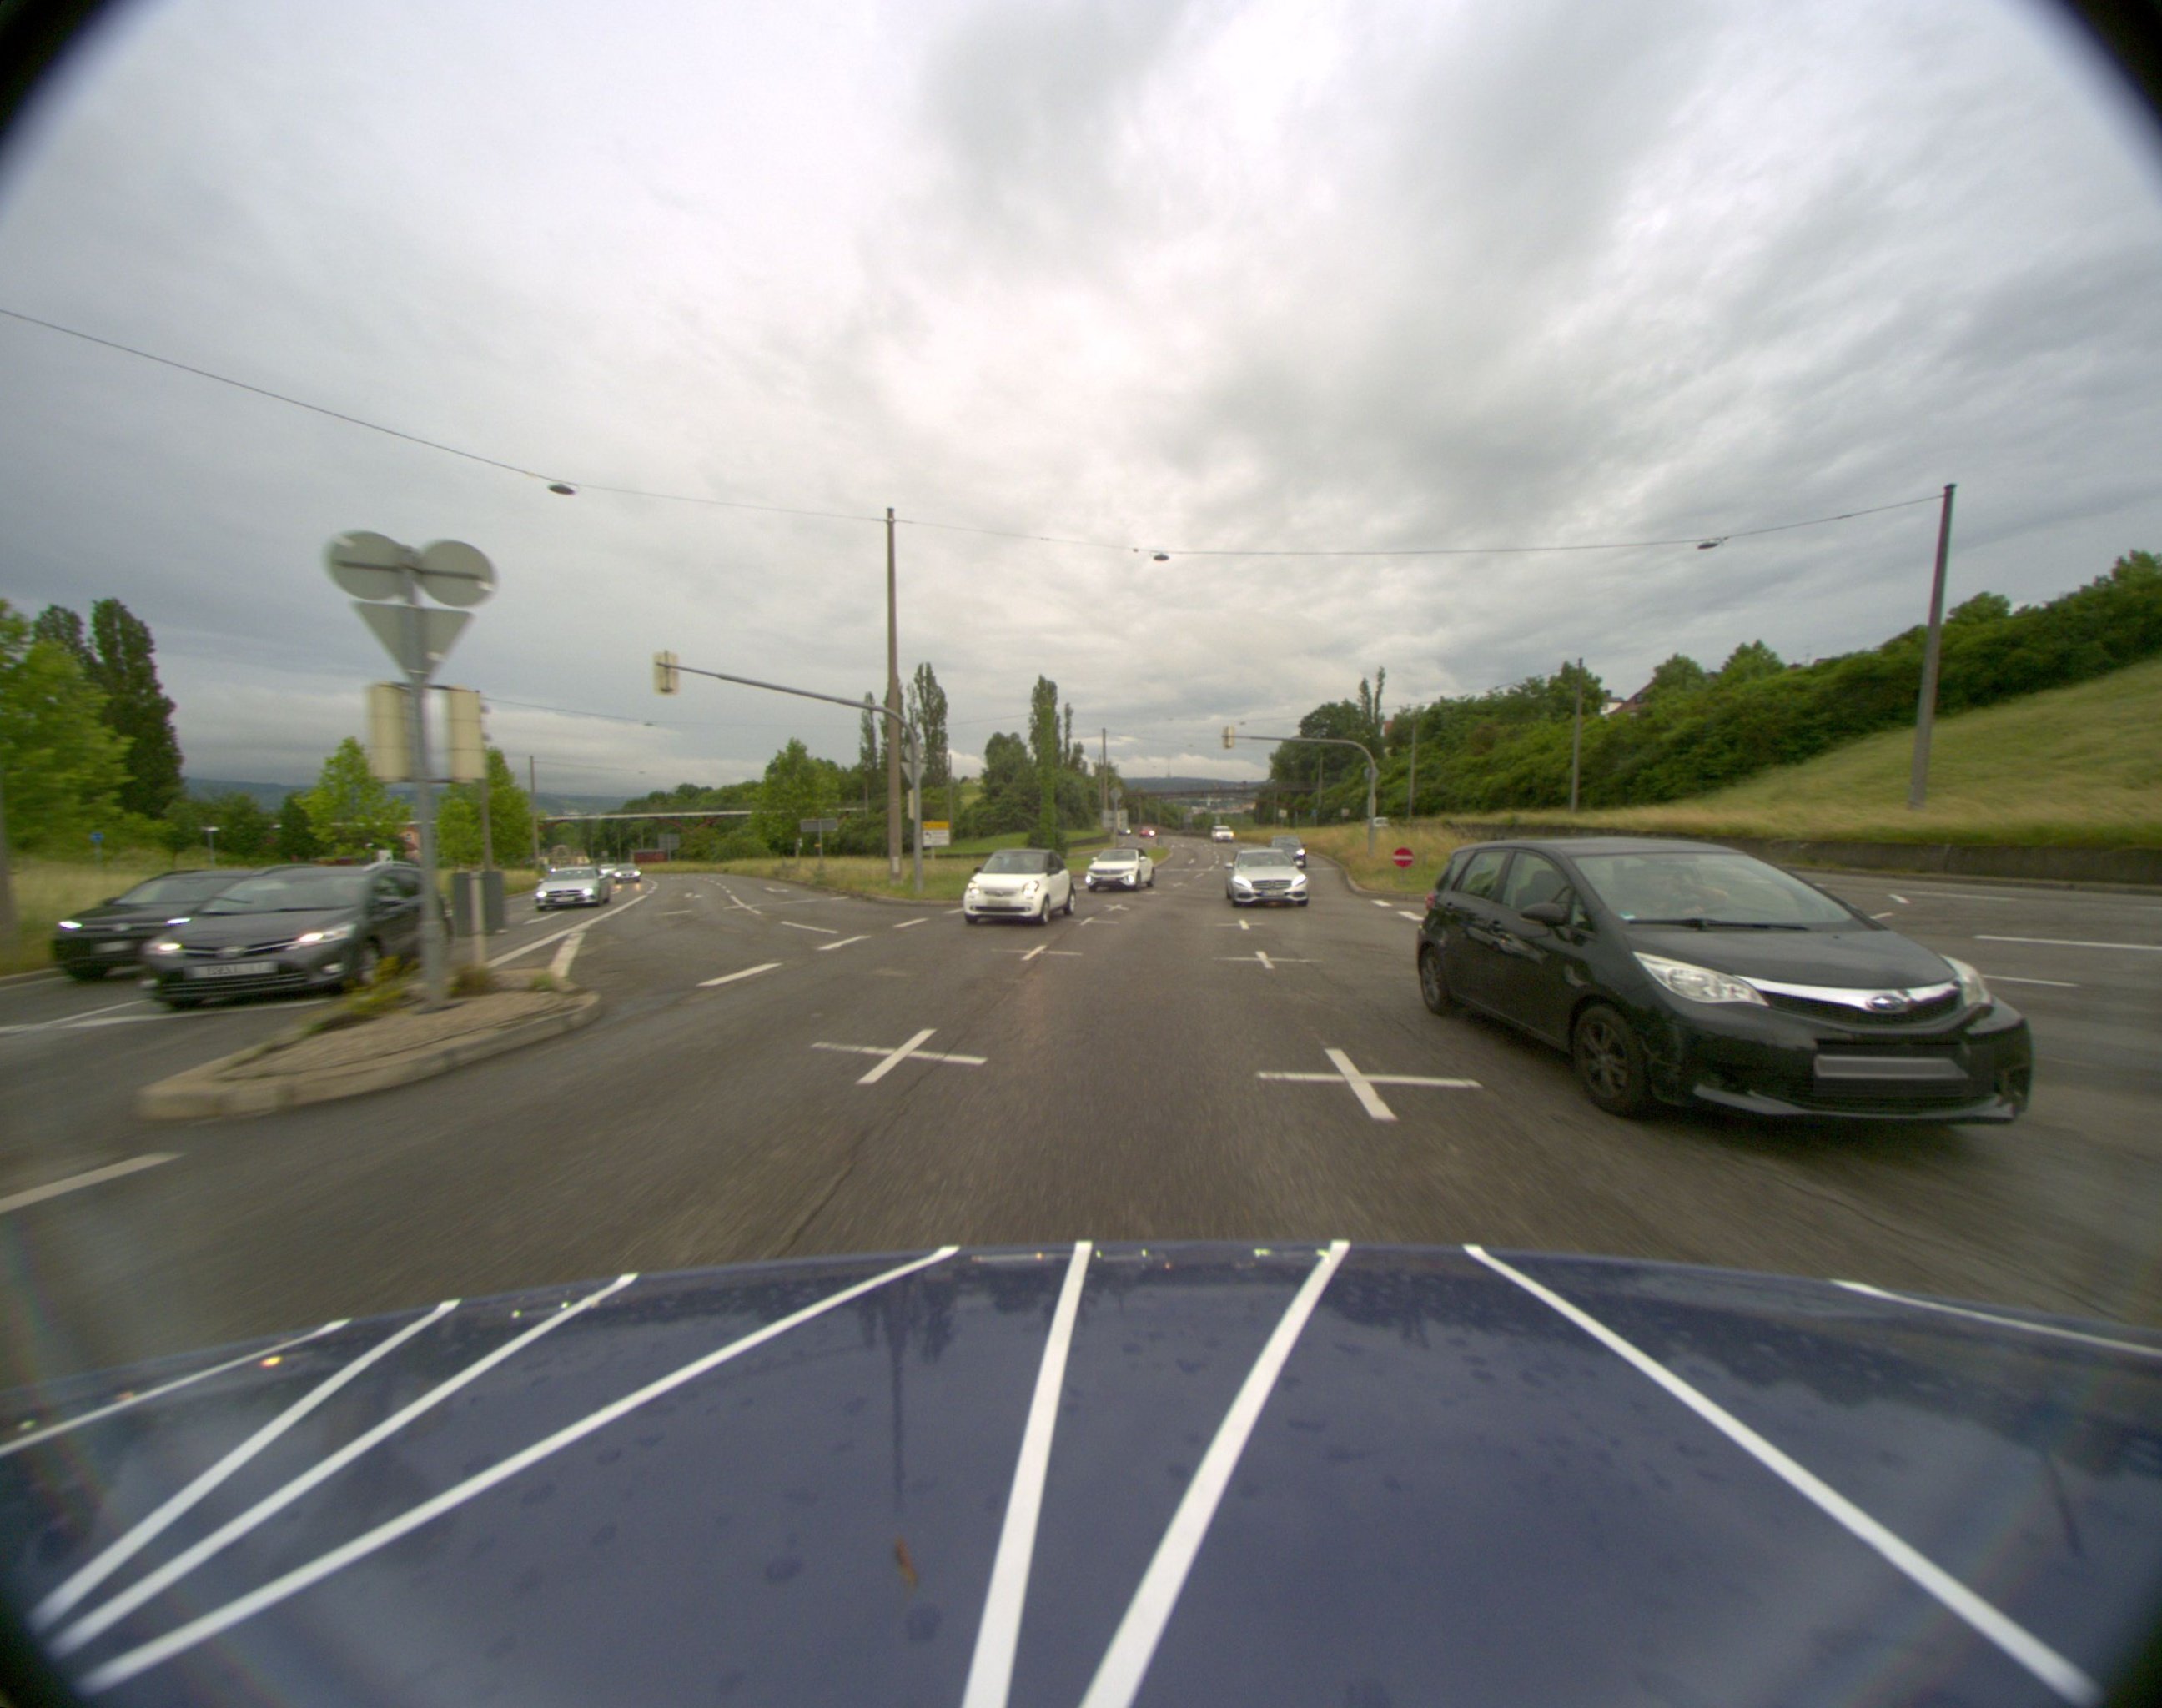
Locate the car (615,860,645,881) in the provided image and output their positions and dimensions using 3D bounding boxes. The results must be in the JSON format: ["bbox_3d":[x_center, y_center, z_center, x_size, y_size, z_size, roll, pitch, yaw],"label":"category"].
[{"bbox_3d":[-34.678,1.244,58.382,1.875,1.477,3.990,-2,1,-31],"label":"car"}]

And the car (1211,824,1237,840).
[{"bbox_3d":[15.671,-2.389,83.543,1.999,1.683,4.287,-2,1,-1],"label":"car"}]

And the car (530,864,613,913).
[{"bbox_3d":[-17.709,1.139,26.576,1.750,1.419,3.991,-2,1,-25],"label":"car"}]

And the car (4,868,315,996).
[{"bbox_3d":[-15.194,1.147,12.892,1.723,1.633,3.879,-3,2,-24],"label":"car"}]

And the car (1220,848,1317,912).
[{"bbox_3d":[4.843,0.603,20.214,1.997,1.400,4.526,-2,1,8],"label":"car"}]

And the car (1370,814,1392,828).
[{"bbox_3d":[32.083,-3.517,81.252,1.559,1.424,3.231,-3,2,11],"label":"car"}]

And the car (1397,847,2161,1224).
[{"bbox_3d":[3.811,0.769,5.267,1.800,1.557,4.043,-1,1,4],"label":"car"}]

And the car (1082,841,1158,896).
[{"bbox_3d":[1.503,0.479,27.700,1.841,1.533,3.819,-1,6,17],"label":"car"}]

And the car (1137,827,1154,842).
[{"bbox_3d":[9.122,-2.726,107.764,1.998,2.002,3.999,-2,1,0],"label":"car"}]

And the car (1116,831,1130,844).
[{"bbox_3d":[6.573,-2.562,119.621,1.998,2.002,3.999,-2,1,1],"label":"car"}]

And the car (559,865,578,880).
[{"bbox_3d":[-74.436,2.617,110.354,2.003,2.002,3.990,-2,1,-32],"label":"car"}]

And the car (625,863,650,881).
[{"bbox_3d":[-40.384,1.594,69.276,1.874,1.488,3.751,-3,1,-30],"label":"car"}]

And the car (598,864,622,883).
[{"bbox_3d":[-50.517,2.070,81.494,1.841,1.937,3.989,-4,2,-35],"label":"car"}]

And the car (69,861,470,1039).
[{"bbox_3d":[-10.324,1.010,10.295,2.002,1.633,4.618,-3,2,-24],"label":"car"}]

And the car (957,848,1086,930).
[{"bbox_3d":[-1.158,0.661,16.827,1.724,1.514,4.230,0,1,11],"label":"car"}]

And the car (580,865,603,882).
[{"bbox_3d":[-60.930,2.368,94.550,2.003,2.002,3.989,-3,2,-37],"label":"car"}]

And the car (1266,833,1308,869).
[{"bbox_3d":[10.613,-0.193,39.301,1.925,1.725,4.028,-2,1,14],"label":"car"}]
